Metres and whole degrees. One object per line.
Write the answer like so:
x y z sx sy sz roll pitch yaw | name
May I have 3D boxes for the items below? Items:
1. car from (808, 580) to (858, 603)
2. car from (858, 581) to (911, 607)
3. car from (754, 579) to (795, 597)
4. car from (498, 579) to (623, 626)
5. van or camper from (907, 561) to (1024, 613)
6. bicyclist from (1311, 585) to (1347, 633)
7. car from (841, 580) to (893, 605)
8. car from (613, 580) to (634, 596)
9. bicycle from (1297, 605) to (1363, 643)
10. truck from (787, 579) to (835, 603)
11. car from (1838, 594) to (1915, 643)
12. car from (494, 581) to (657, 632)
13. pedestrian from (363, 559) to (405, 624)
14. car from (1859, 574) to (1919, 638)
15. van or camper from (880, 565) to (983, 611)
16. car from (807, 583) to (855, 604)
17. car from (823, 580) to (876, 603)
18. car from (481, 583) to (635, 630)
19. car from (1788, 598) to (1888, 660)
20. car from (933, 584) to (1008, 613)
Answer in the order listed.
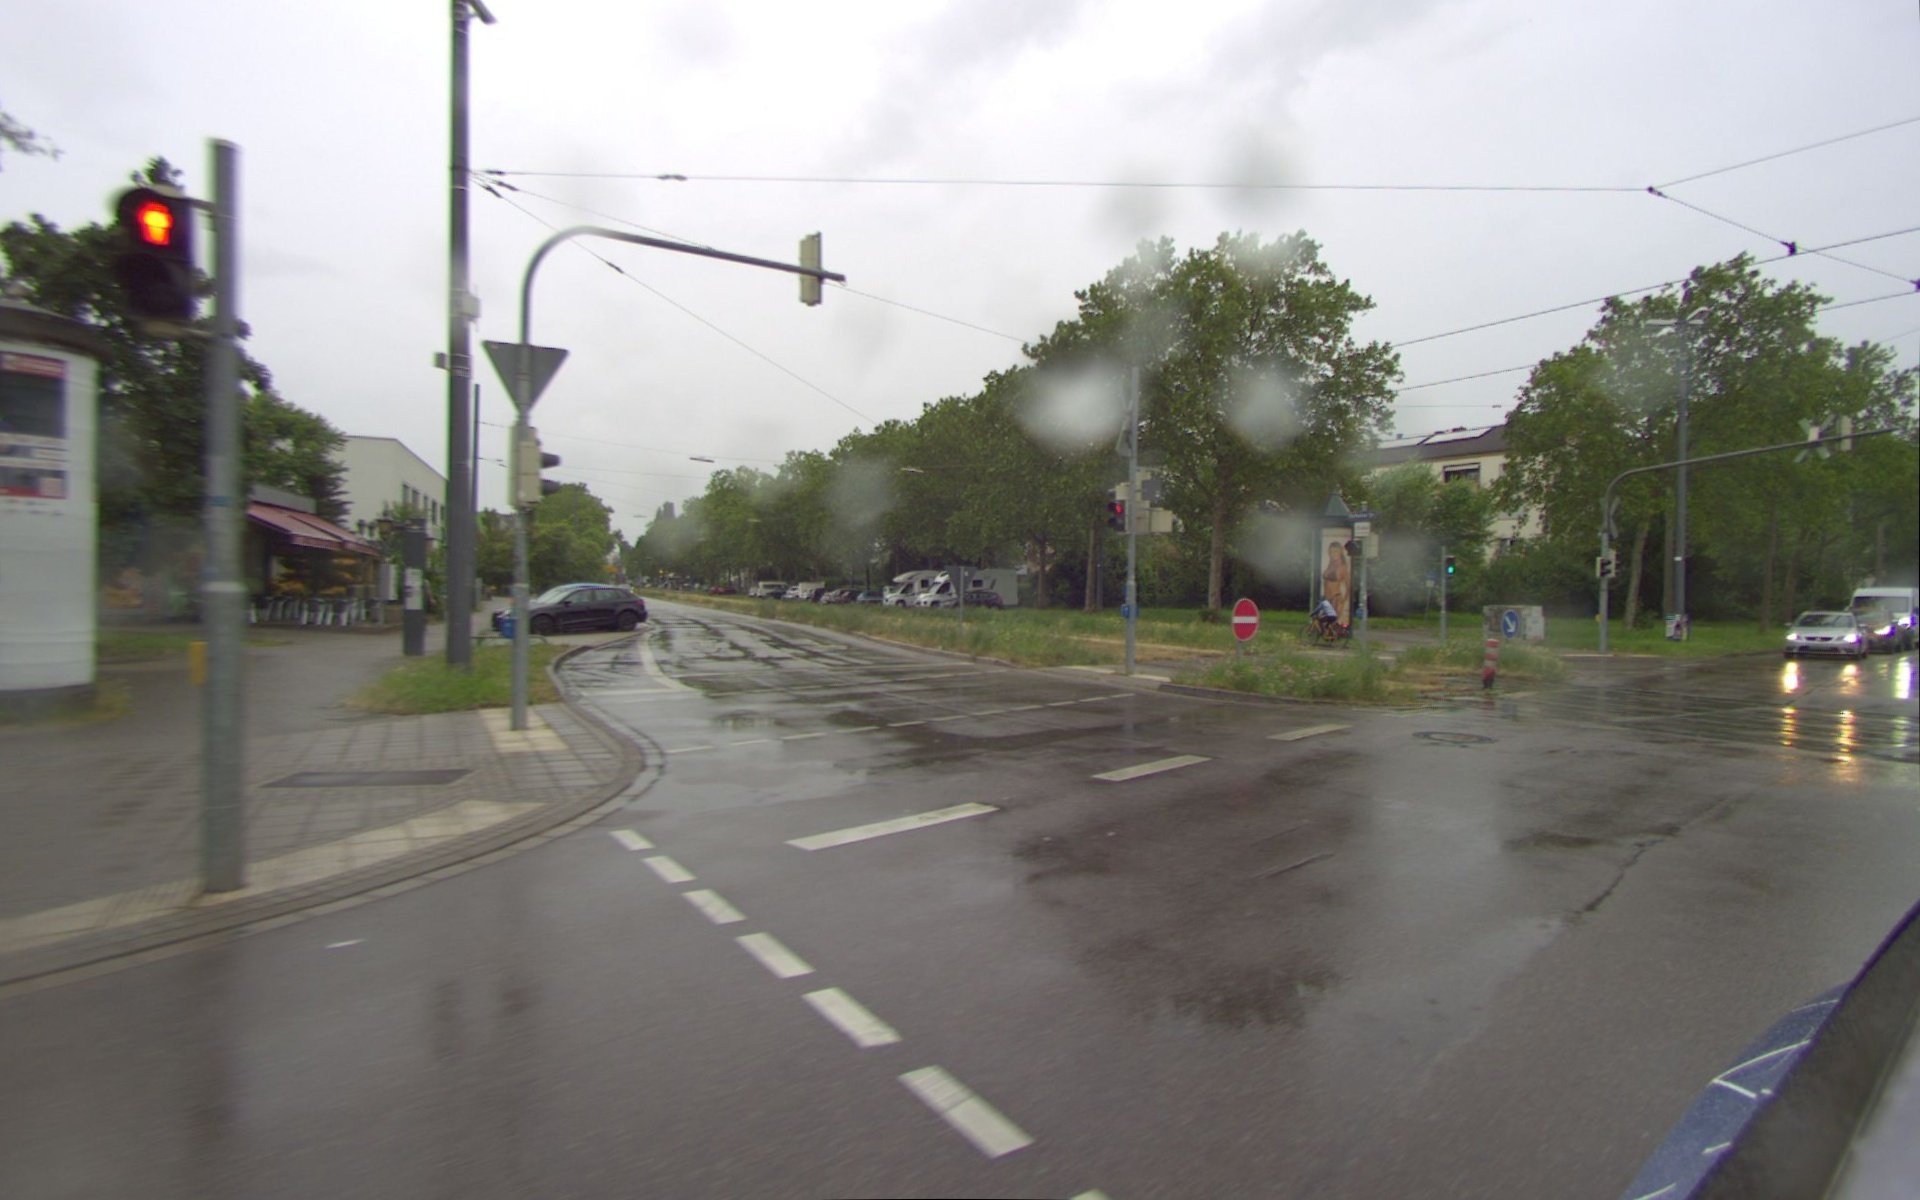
-12.645 -0.824 100.510 4.639 2.039 2.435 2 0 -12 | car
-6.282 -0.514 84.207 4.099 2.039 2.190 2 0 -13 | car
-22.840 -1.470 124.464 4.553 2.039 2.047 2 0 -23 | car
-14.510 0.088 36.785 3.922 1.602 1.859 0 0 -34 | car
0.362 -0.859 68.813 7.191 3.219 3.269 2 0 -20 | van or camper
11.768 0.282 32.273 0.681 1.525 0.843 2 -1 -41 | bicyclist
-8.091 -0.627 87.908 4.222 1.970 1.971 2 0 -12 | car
-36.004 -1.281 108.449 1.857 1.683 4.008 2 0 -15 | car
11.779 0.753 32.246 0.680 1.131 1.882 2 -1 -40 | bicycle
-15.873 -0.993 107.928 4.638 2.368 2.435 2 0 -18 | truck
32.803 0.662 36.187 4.001 1.627 1.786 2 0 -44 | car
-11.946 0.149 31.559 4.409 1.436 1.858 -2 2 -37 | car
-16.665 -0.256 29.287 0.882 1.820 0.717 2 0 38 | pedestrian
37.847 0.282 40.599 5.524 2.422 1.997 2 -1 -41 | car
-2.211 -0.921 77.549 7.293 3.219 3.269 2 0 -16 | van or camper
-13.408 -0.690 105.216 4.638 2.039 2.435 2 0 -14 | car
-10.424 -0.771 94.891 4.639 2.039 2.435 2 0 -12 | car
-13.300 0.161 33.570 4.428 1.436 1.858 -1 2 -37 | car
26.789 0.872 30.828 4.334 1.713 1.930 2 0 -44 | car
0.652 -0.106 65.149 4.364 1.739 2.004 2 0 -17 | car
